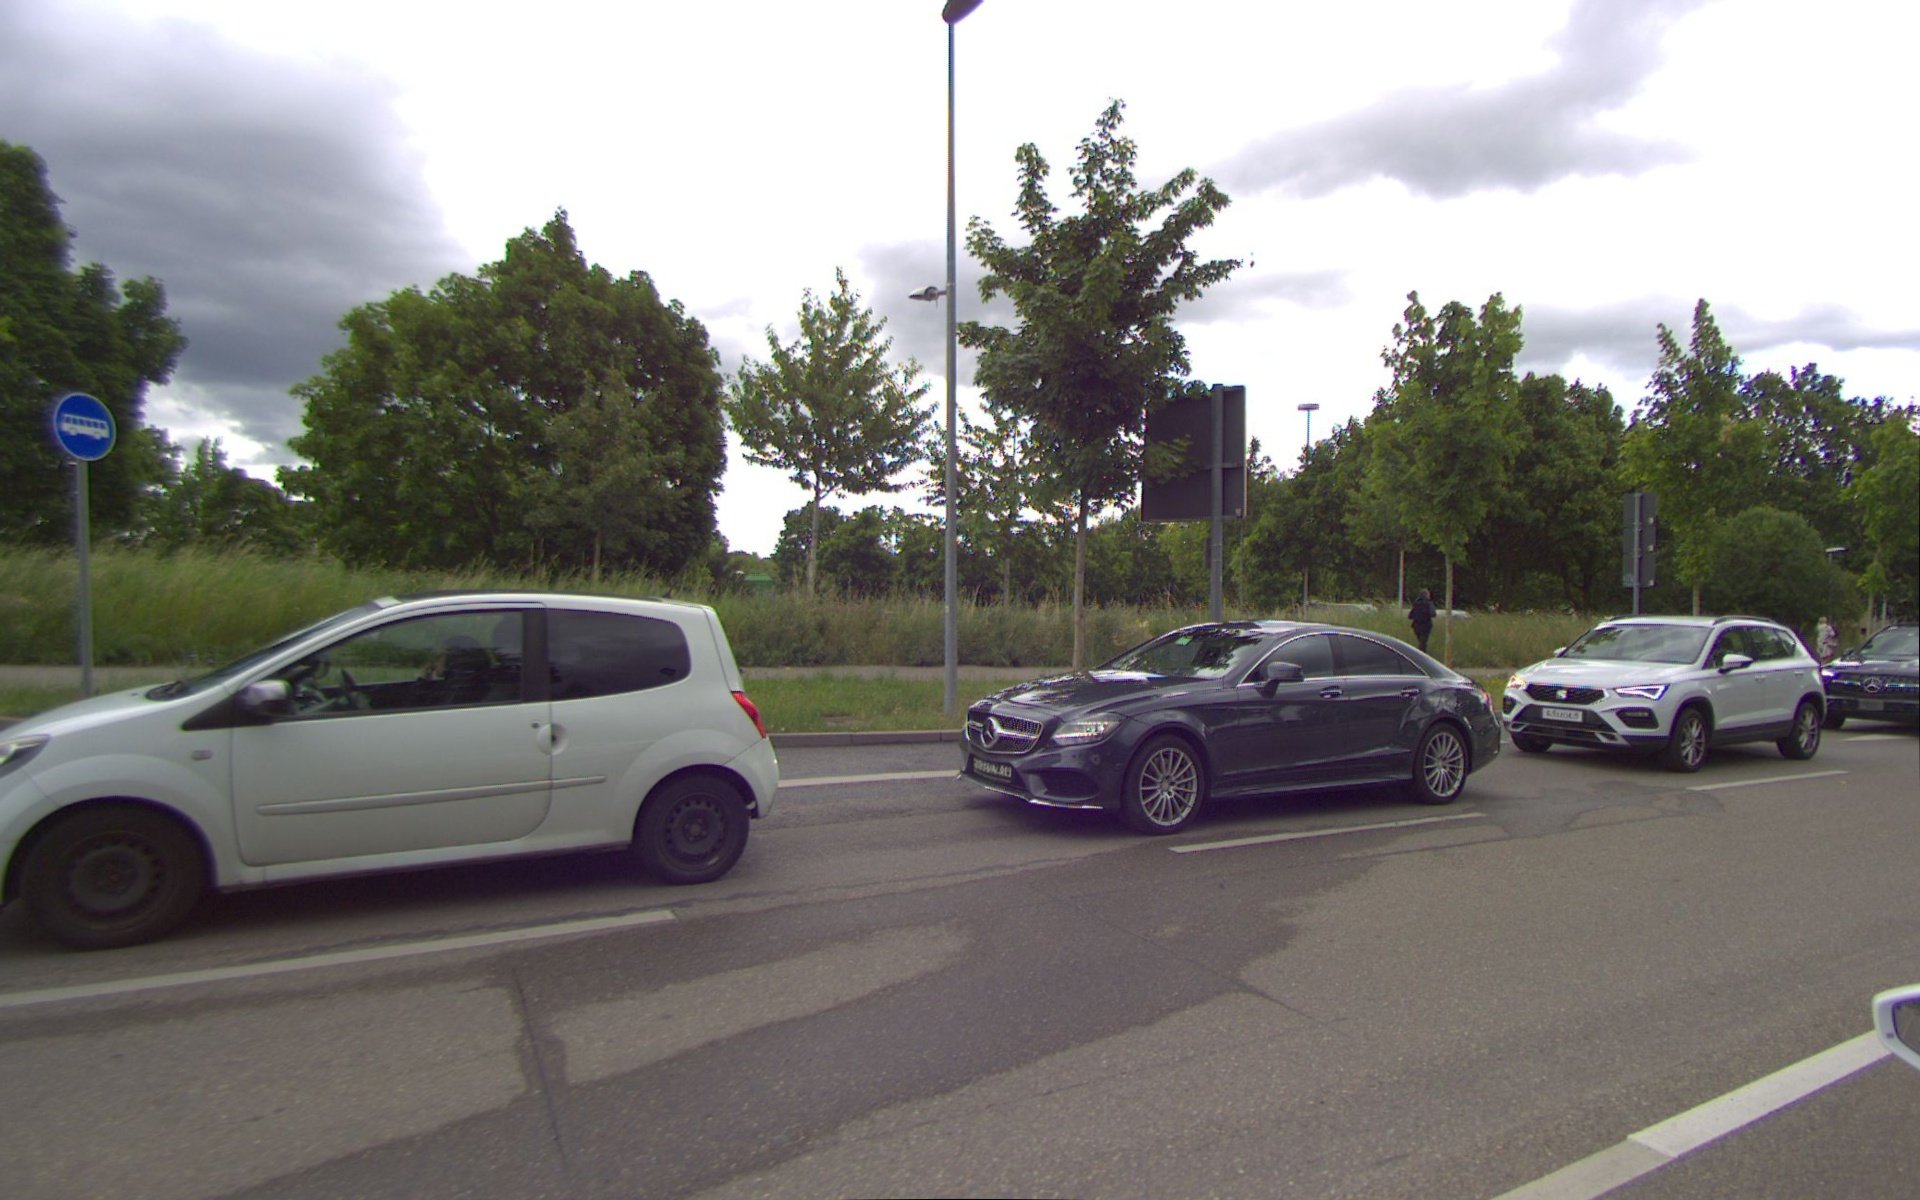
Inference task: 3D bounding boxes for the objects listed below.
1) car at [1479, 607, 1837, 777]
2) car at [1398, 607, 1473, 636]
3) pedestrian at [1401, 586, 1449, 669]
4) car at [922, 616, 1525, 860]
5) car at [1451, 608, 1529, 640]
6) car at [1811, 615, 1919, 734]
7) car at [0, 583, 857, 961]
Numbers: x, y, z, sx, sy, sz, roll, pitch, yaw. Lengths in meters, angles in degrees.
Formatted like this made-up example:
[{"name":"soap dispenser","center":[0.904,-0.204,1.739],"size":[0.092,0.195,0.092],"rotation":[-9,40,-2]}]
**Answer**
[{"name":"car","center":[8.057,0.934,11.519],"size":[4.172,1.607,1.722],"rotation":[1,1,-30]},{"name":"car","center":[36.280,1.605,76.811],"size":[1.977,2.040,4.941],"rotation":[1,0,-31]},{"name":"pedestrian","center":[10.678,0.627,23.085],"size":[0.669,1.860,0.718],"rotation":[1,0,-28]},{"name":"car","center":[2.218,0.874,7.915],"size":[4.826,1.409,1.632],"rotation":[1,1,-30]},{"name":"car","center":[40.153,1.803,76.215],"size":[1.978,2.219,4.938],"rotation":[1,0,-32]},{"name":"car","center":[14.782,1.072,15.185],"size":[4.012,1.607,1.632],"rotation":[1,1,-30]},{"name":"car","center":[-2.579,0.662,5.272],"size":[3.717,1.409,1.632],"rotation":[1,1,-30]}]
